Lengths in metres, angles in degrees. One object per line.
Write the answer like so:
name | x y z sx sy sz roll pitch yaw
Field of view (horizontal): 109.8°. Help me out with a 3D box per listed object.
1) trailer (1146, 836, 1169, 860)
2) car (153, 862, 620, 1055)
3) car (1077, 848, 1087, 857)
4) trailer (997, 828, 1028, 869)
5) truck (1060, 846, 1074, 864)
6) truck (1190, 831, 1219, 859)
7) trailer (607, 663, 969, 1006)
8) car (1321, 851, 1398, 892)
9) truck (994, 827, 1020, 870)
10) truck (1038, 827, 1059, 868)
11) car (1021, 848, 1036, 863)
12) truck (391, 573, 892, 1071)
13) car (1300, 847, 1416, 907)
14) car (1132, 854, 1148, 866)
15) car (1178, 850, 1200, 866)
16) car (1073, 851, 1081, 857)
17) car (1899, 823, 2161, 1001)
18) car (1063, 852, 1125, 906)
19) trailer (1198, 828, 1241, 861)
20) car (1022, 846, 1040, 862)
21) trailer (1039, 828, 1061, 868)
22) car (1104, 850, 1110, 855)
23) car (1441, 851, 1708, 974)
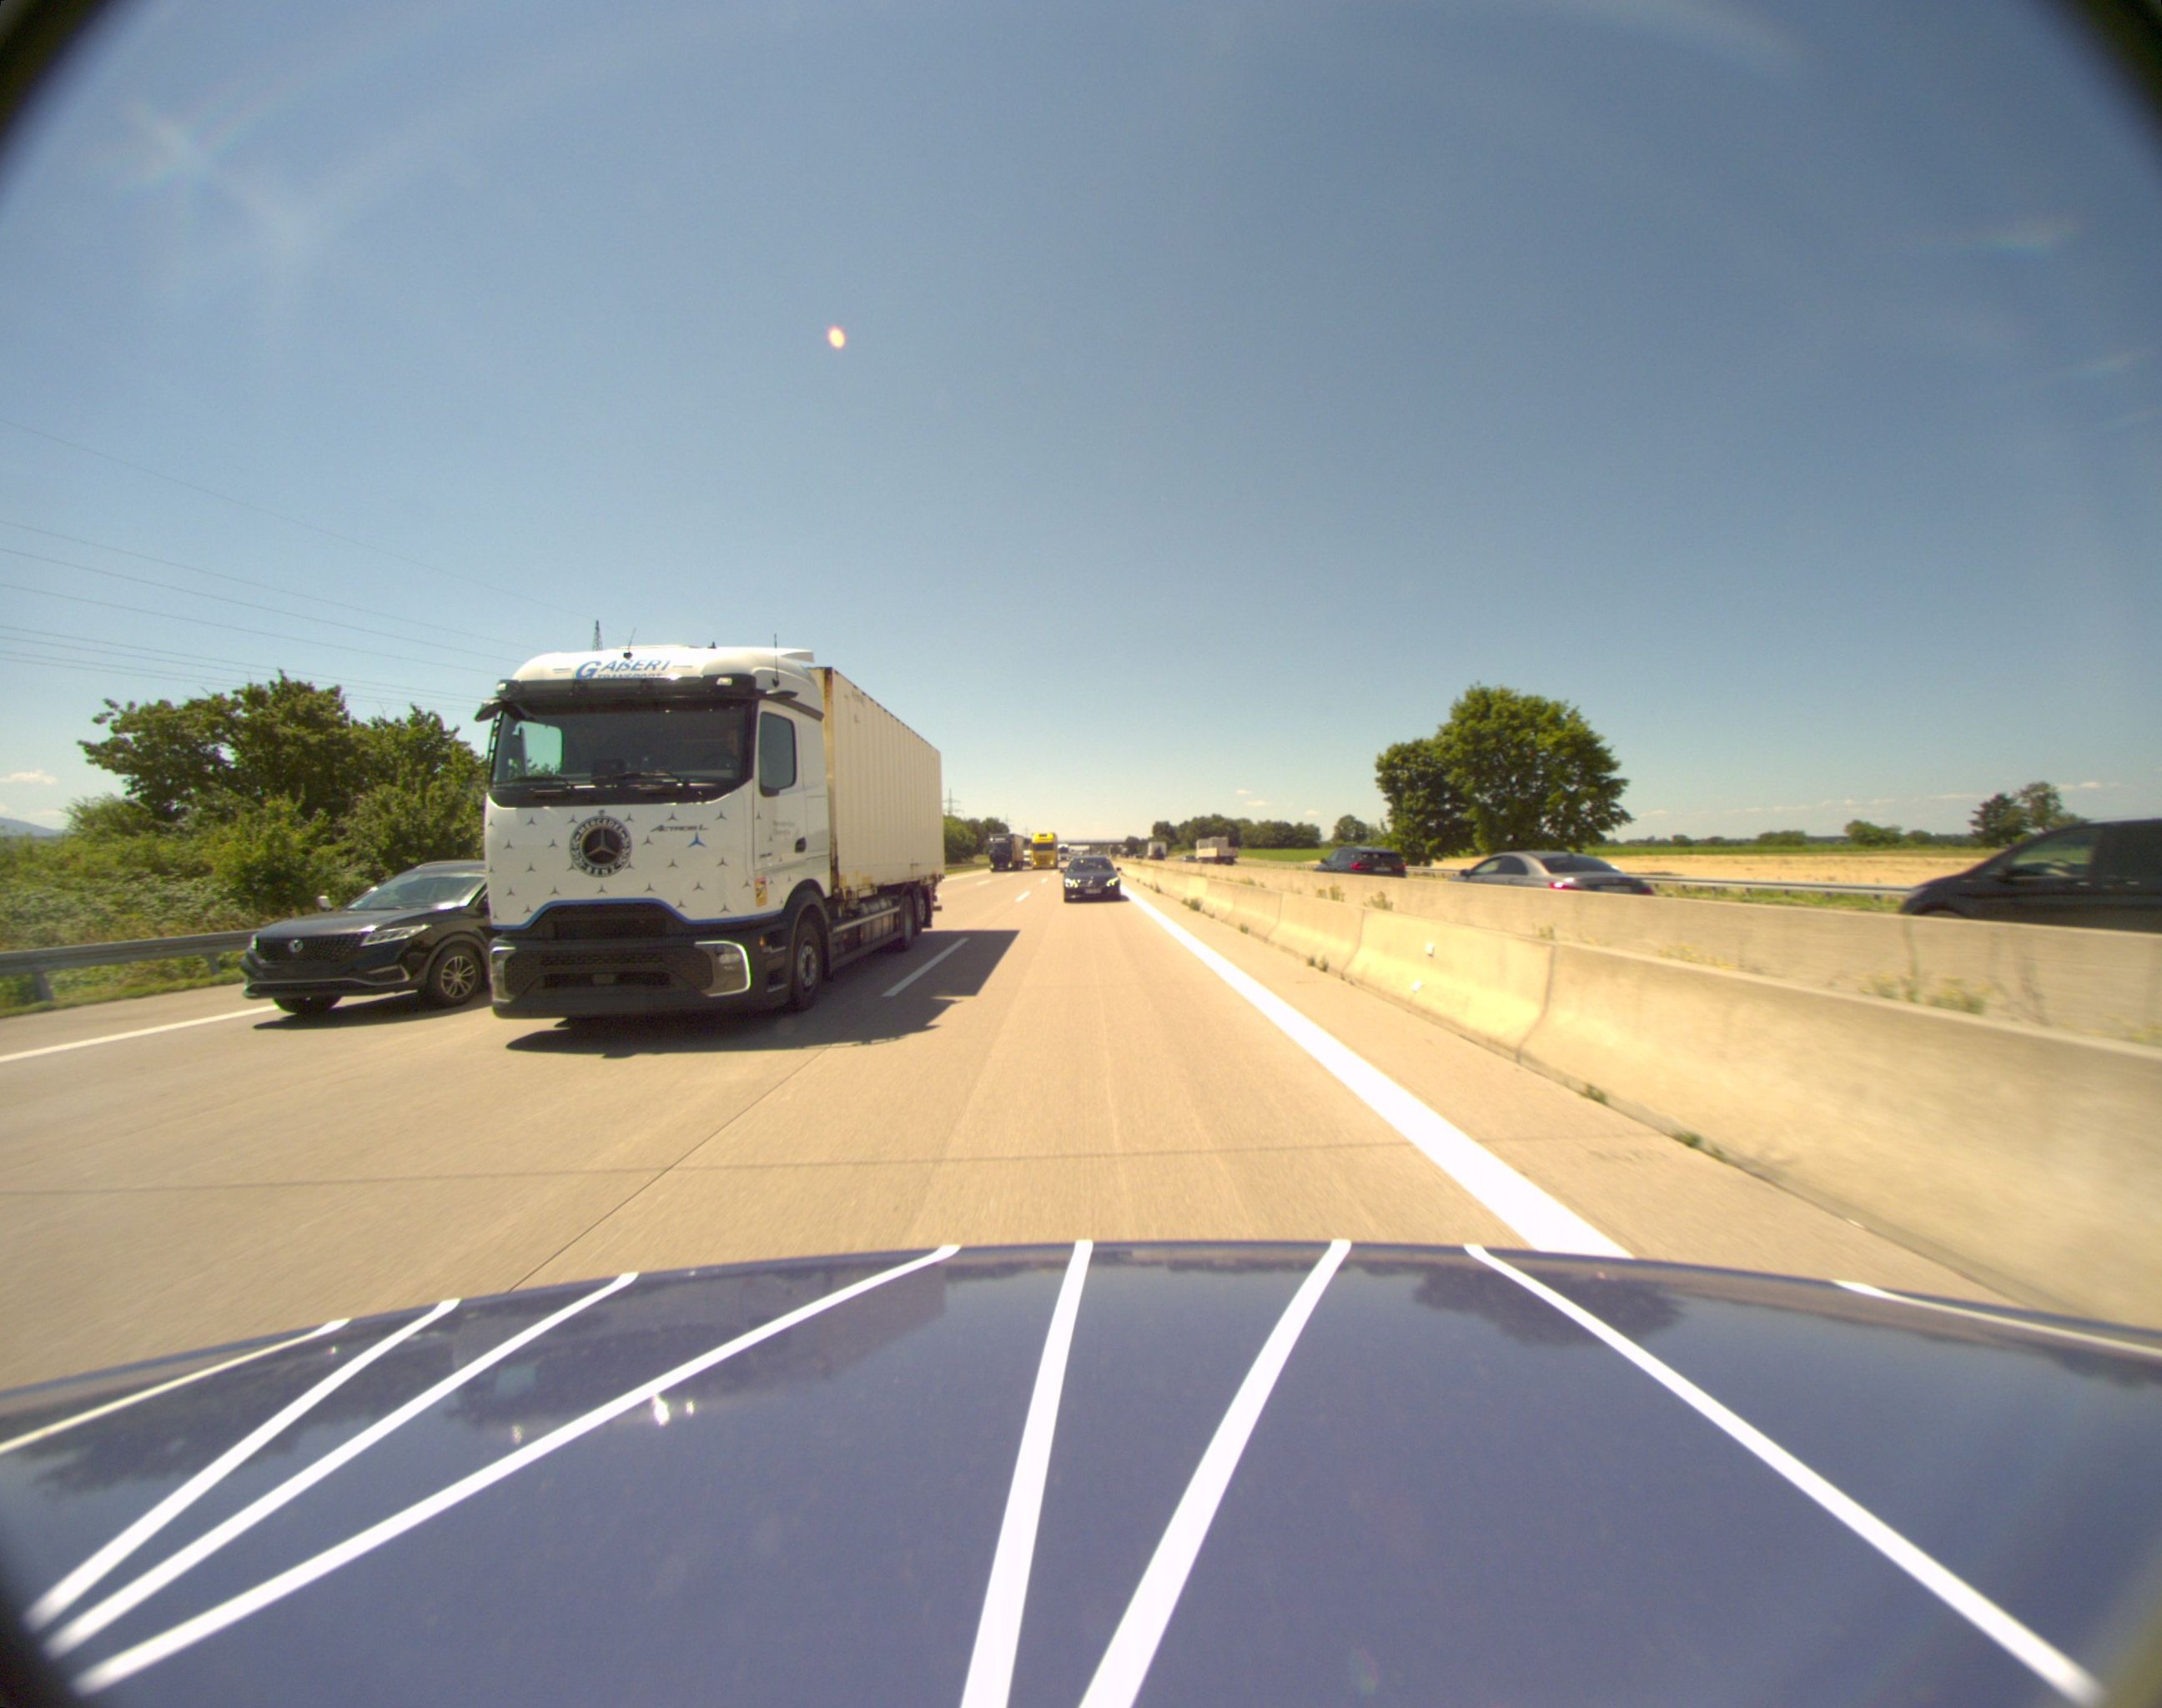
trailer | 13.344 -1.049 132.780 2.908 3.947 8.476 -2 0 0
car | -8.065 1.056 9.489 1.998 1.772 4.000 -2 0 2
car | 0.236 -0.272 163.467 1.998 1.780 4.300 -2 0 0
trailer | -7.648 -0.610 86.314 1.998 4.168 14.744 -2 0 0
truck | -3.353 0.263 179.935 2.960 4.122 6.151 -2 0 0
truck | 17.204 -1.177 106.015 2.810 3.666 7.235 -2 0 0
trailer | -4.130 -0.249 13.963 2.587 3.855 10.371 -2 0 -1
car | 13.093 0.782 36.016 1.998 1.707 4.613 -2 0 1
truck | -7.661 -0.573 79.303 1.998 4.168 5.705 -2 1 0
truck | -3.564 -0.720 83.487 1.999 4.230 5.194 -2 1 -1
car | -7.644 0.224 110.425 1.788 2.002 3.819 -2 0 0
truck | -4.102 -0.263 8.541 2.587 3.855 4.983 -2 1 -1
car | 8.873 0.663 24.836 1.998 1.707 5.029 -2 0 1
car | 9.258 0.906 119.631 1.998 1.707 5.024 -2 0 0
car | 12.384 0.469 87.680 1.968 1.707 5.127 -2 0 2
car | -1.219 -0.028 217.016 1.999 1.827 4.815 -2 0 -2
car | 12.522 0.601 8.133 1.998 1.867 5.184 -2 0 1
car | 0.410 0.756 25.404 1.848 1.576 3.939 -2 0 0
trailer | 17.195 -1.119 95.341 2.810 3.662 13.748 -2 0 0
car | -7.525 -0.033 115.080 2.139 2.333 5.515 -2 0 0
trailer | -3.605 -0.687 90.667 1.999 4.230 15.197 -2 0 -1
car | 8.999 -0.529 260.080 1.887 1.685 4.682 -2 0 0
car | 8.122 0.844 13.043 1.998 1.707 4.000 -2 0 1
